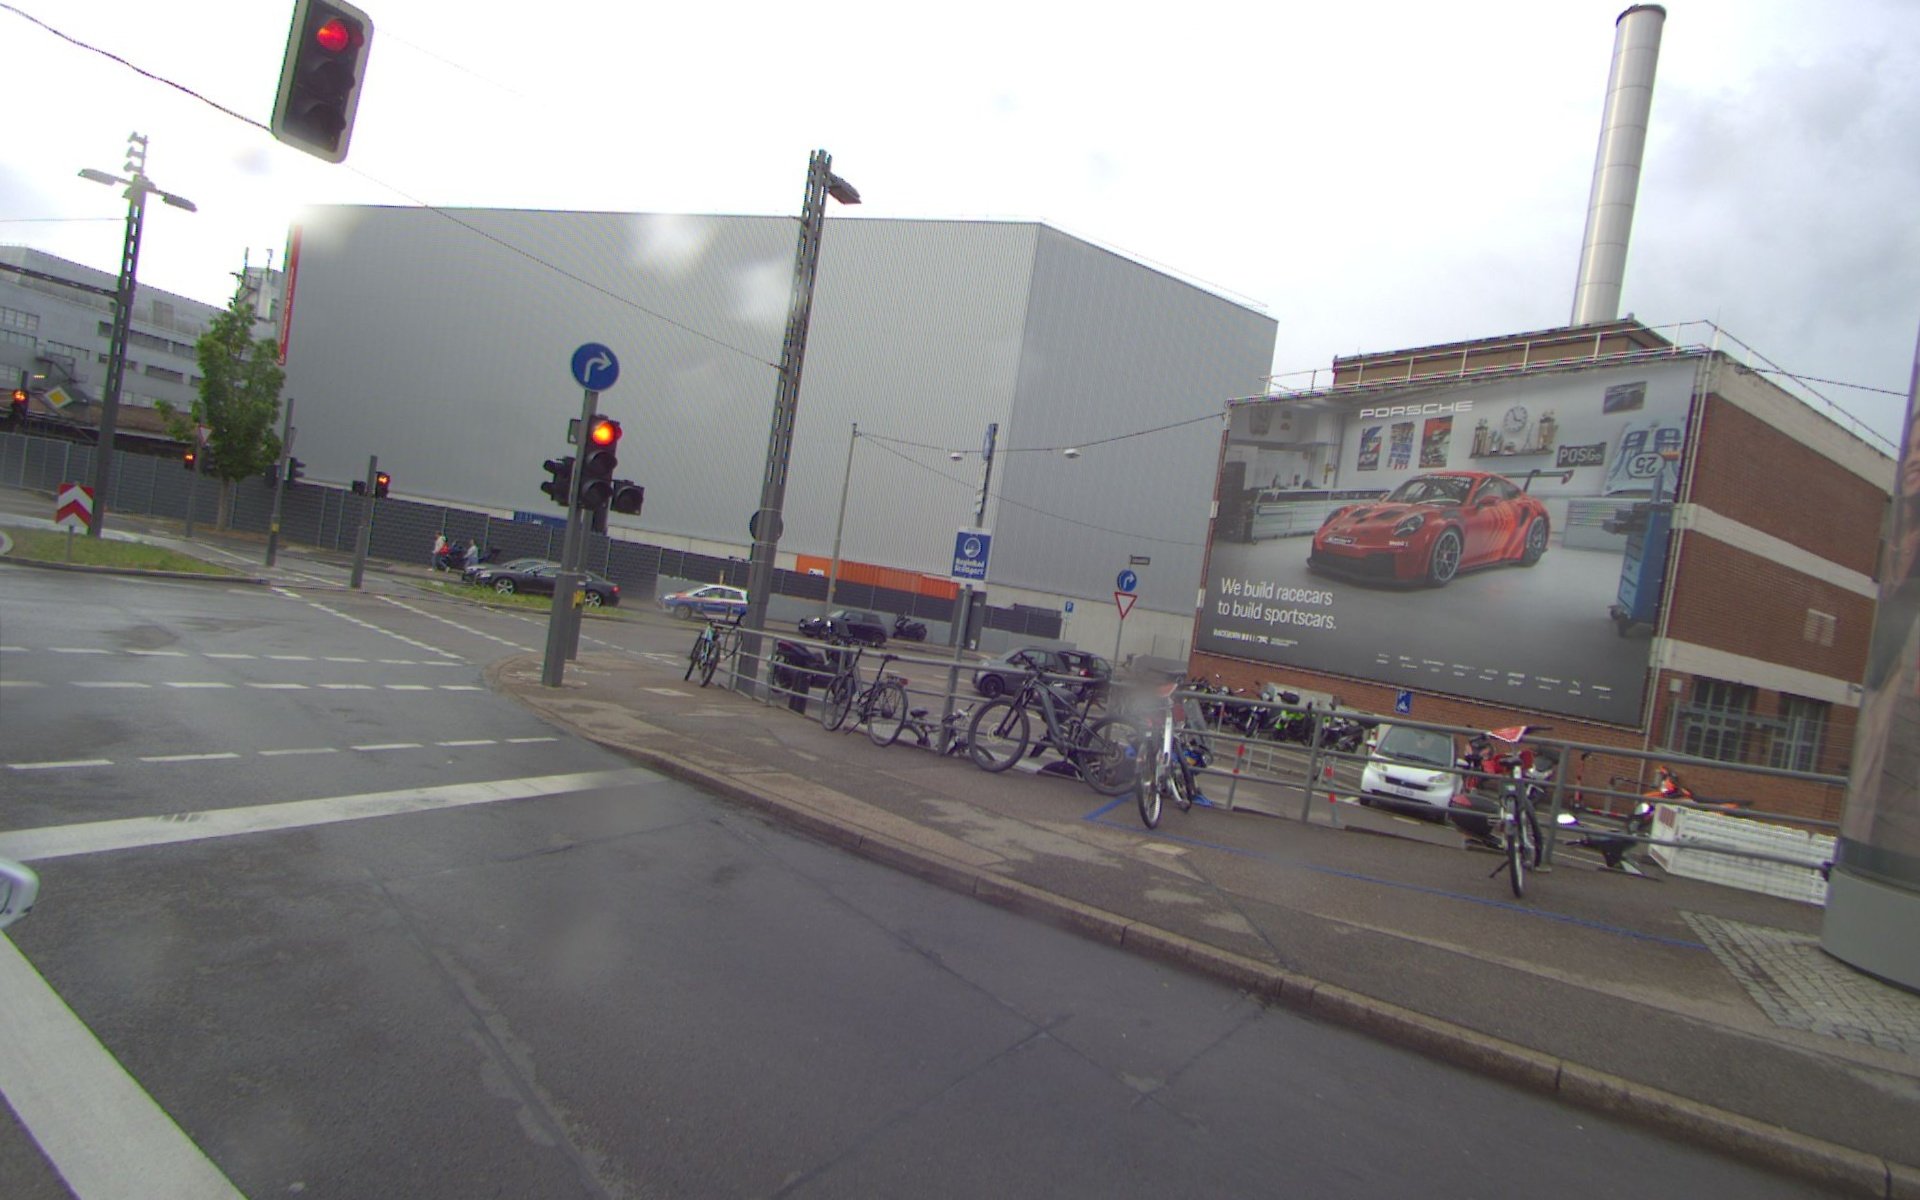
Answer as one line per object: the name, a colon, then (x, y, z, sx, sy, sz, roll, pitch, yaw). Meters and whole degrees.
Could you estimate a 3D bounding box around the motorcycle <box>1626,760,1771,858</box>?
motorcycle: (14.221, 3.989, 19.425, 0.922, 1.327, 1.961, 5, 4, -41)

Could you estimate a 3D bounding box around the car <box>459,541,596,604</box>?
car: (-15.576, -0.986, 36.276, 4.254, 1.557, 1.744, 10, -1, -29)

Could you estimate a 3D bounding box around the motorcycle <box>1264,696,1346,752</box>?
motorcycle: (8.623, 3.112, 25.116, 1.999, 1.206, 0.605, 6, 3, -29)

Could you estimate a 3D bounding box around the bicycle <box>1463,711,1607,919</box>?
bicycle: (4.167, 1.487, 7.413, 0.581, 1.176, 1.805, 6, 0, 23)

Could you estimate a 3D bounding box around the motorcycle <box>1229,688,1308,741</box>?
motorcycle: (8.002, 2.978, 26.105, 1.999, 1.206, 0.605, 6, 3, -29)

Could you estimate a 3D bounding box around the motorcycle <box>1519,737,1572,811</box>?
motorcycle: (12.498, 3.678, 21.445, 0.564, 1.327, 1.863, 10, 3, 37)

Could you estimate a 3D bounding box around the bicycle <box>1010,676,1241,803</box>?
bicycle: (1.655, 1.373, 10.252, 2.138, 0.916, 0.693, 6, -1, 32)

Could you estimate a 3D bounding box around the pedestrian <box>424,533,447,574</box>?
pedestrian: (-20.460, -1.801, 39.233, 0.605, 1.499, 0.421, 7, 0, -23)

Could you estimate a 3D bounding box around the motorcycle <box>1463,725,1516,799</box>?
motorcycle: (11.606, 3.512, 22.024, 0.677, 1.327, 2.016, 9, 3, 33)

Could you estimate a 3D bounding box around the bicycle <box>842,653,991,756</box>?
bicycle: (-0.530, 1.173, 11.517, 1.789, 0.916, 0.530, 6, -1, 44)

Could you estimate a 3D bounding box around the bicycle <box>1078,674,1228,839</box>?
bicycle: (1.666, 1.237, 8.437, 0.666, 1.154, 1.774, 6, -1, 27)

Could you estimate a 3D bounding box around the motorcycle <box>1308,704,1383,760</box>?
motorcycle: (9.326, 3.176, 24.290, 2.005, 1.206, 0.603, 6, 3, -38)

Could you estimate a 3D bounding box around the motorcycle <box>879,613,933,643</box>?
motorcycle: (-2.780, 1.454, 51.833, 2.471, 1.200, 0.991, 8, -1, -34)

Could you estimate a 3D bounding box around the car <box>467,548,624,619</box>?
car: (-13.790, -0.536, 33.522, 4.536, 1.557, 1.744, 10, -1, -29)

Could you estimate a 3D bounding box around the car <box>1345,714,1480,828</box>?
car: (8.446, 3.064, 18.635, 1.665, 1.499, 3.555, 10, 1, 31)

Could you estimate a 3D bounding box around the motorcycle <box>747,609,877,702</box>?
motorcycle: (-2.670, 1.047, 18.385, 0.746, 1.469, 2.225, 8, -1, 42)

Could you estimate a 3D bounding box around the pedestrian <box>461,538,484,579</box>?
pedestrian: (-19.115, -1.627, 39.420, 0.642, 1.499, 0.436, 7, 0, -25)

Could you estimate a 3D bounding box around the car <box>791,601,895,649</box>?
car: (-5.001, 1.074, 43.171, 3.958, 1.408, 1.744, 10, -1, -29)

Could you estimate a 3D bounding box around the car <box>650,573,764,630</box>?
car: (-10.093, 0.069, 40.187, 3.939, 1.620, 1.898, 10, -1, -29)

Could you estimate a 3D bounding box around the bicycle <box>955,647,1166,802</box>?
bicycle: (0.925, 1.150, 9.660, 1.969, 1.176, 0.385, 6, 0, 35)

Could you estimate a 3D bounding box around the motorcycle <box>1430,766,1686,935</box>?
motorcycle: (5.132, 2.131, 8.769, 1.718, 1.002, 0.699, 8, 0, 21)

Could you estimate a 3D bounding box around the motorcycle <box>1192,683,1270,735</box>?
motorcycle: (7.300, 2.940, 27.083, 1.998, 1.206, 0.605, 6, 3, -27)

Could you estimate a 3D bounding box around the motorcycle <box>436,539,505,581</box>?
motorcycle: (-19.748, -1.611, 40.599, 2.335, 1.360, 0.648, 8, 0, -30)

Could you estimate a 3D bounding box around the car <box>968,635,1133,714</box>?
car: (2.410, 2.008, 27.479, 4.091, 1.547, 1.836, 8, -2, -3)

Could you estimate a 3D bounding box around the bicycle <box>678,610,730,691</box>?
bicycle: (-4.098, 0.772, 16.025, 0.381, 1.111, 1.740, 6, 0, -25)

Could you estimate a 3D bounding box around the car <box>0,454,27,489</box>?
car: (-60.389, -8.190, 61.984, 1.969, 1.993, 4.880, 7, 0, -14)

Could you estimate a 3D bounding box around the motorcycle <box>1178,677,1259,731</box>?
motorcycle: (7.256, 2.916, 28.270, 1.987, 1.206, 0.608, 7, 3, -4)

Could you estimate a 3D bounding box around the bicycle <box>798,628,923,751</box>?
bicycle: (-1.147, 0.969, 11.236, 0.383, 1.133, 1.731, 6, 0, -40)
